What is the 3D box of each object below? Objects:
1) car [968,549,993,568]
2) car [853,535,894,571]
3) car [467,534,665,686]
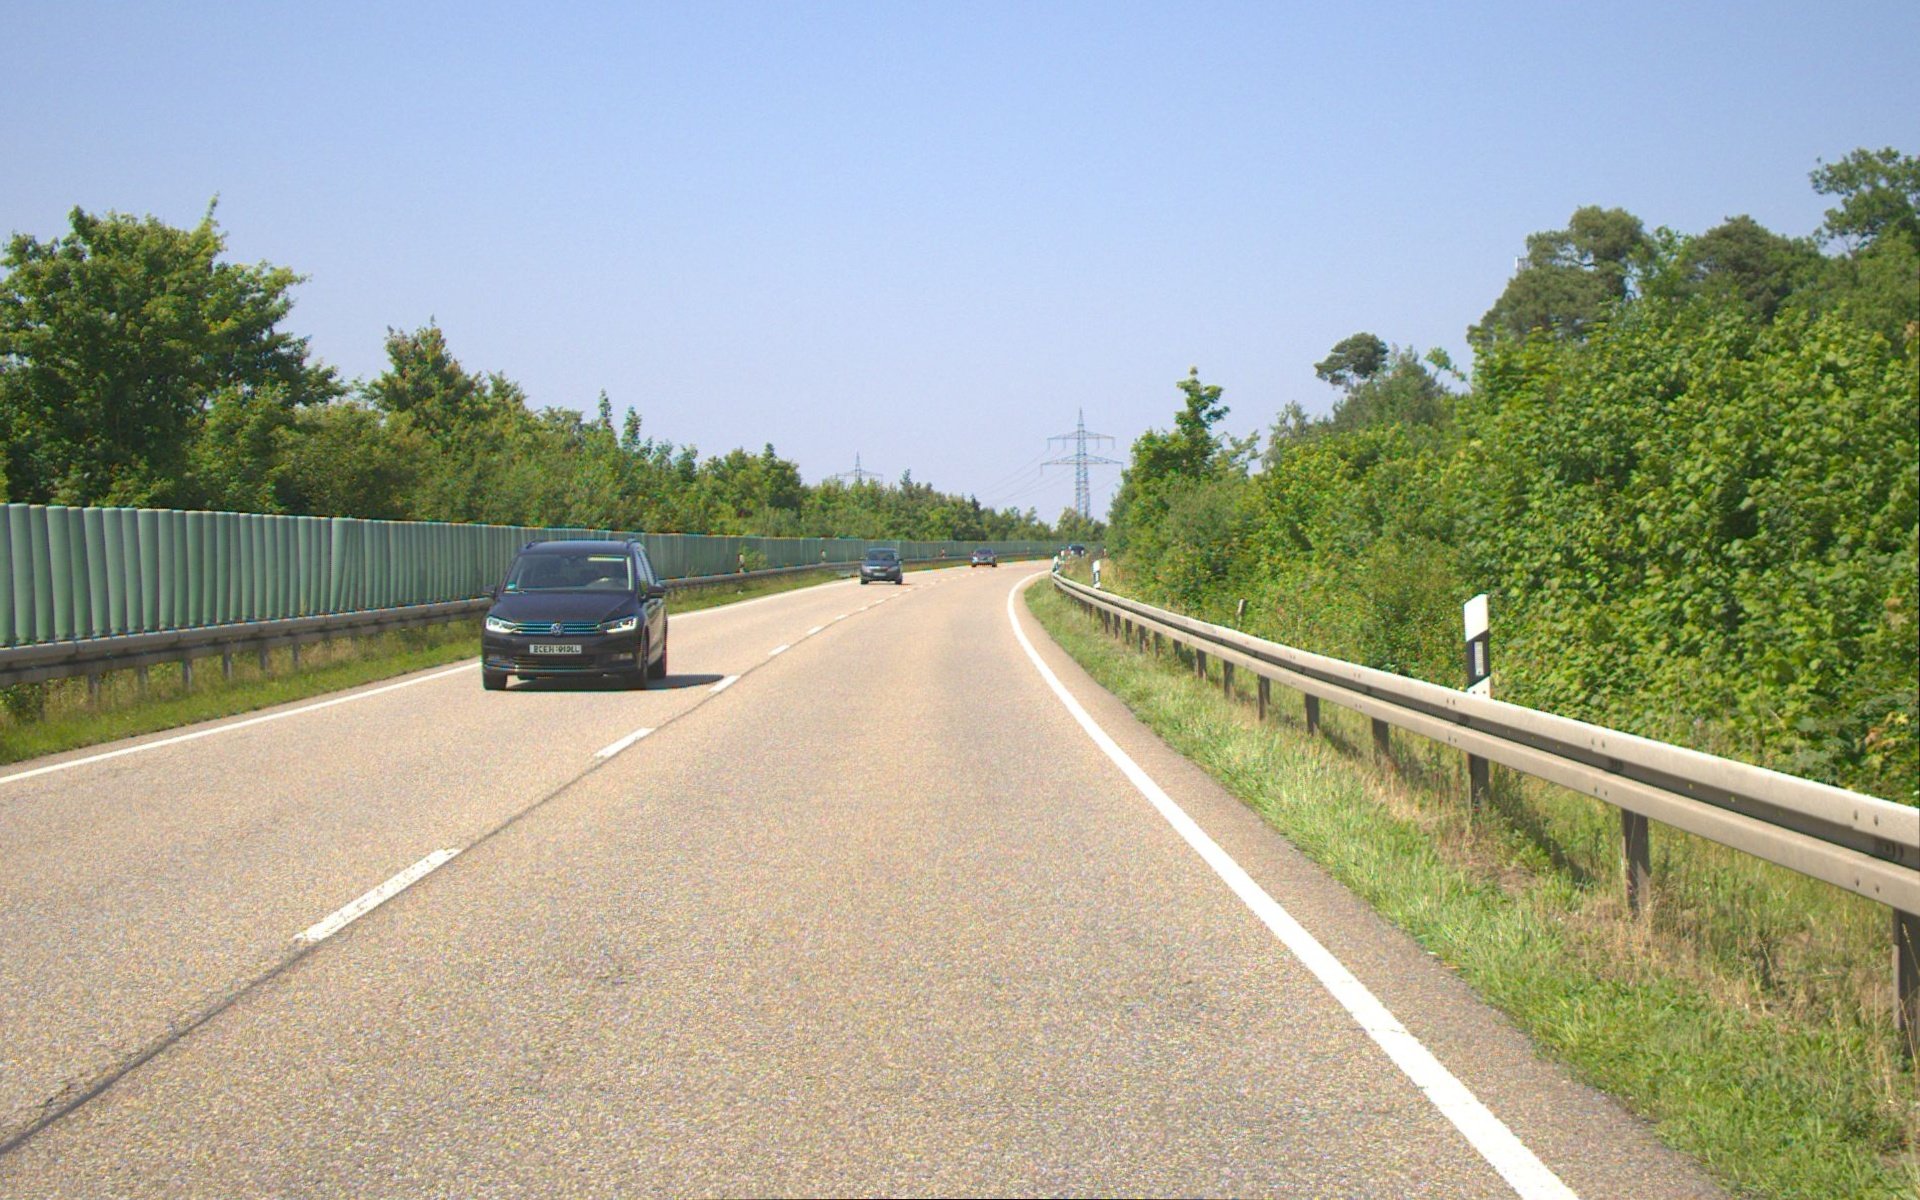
[{"bbox_3d":[1.527,-3.081,255.703,1.787,1.367,3.897,0,2,2],"label":"car"},{"bbox_3d":[-3.586,-1.965,142.915,1.648,1.474,3.677,0,1,-1],"label":"car"},{"bbox_3d":[-4.421,0.088,39.047,1.764,1.634,4.126,0,1,0],"label":"car"}]
